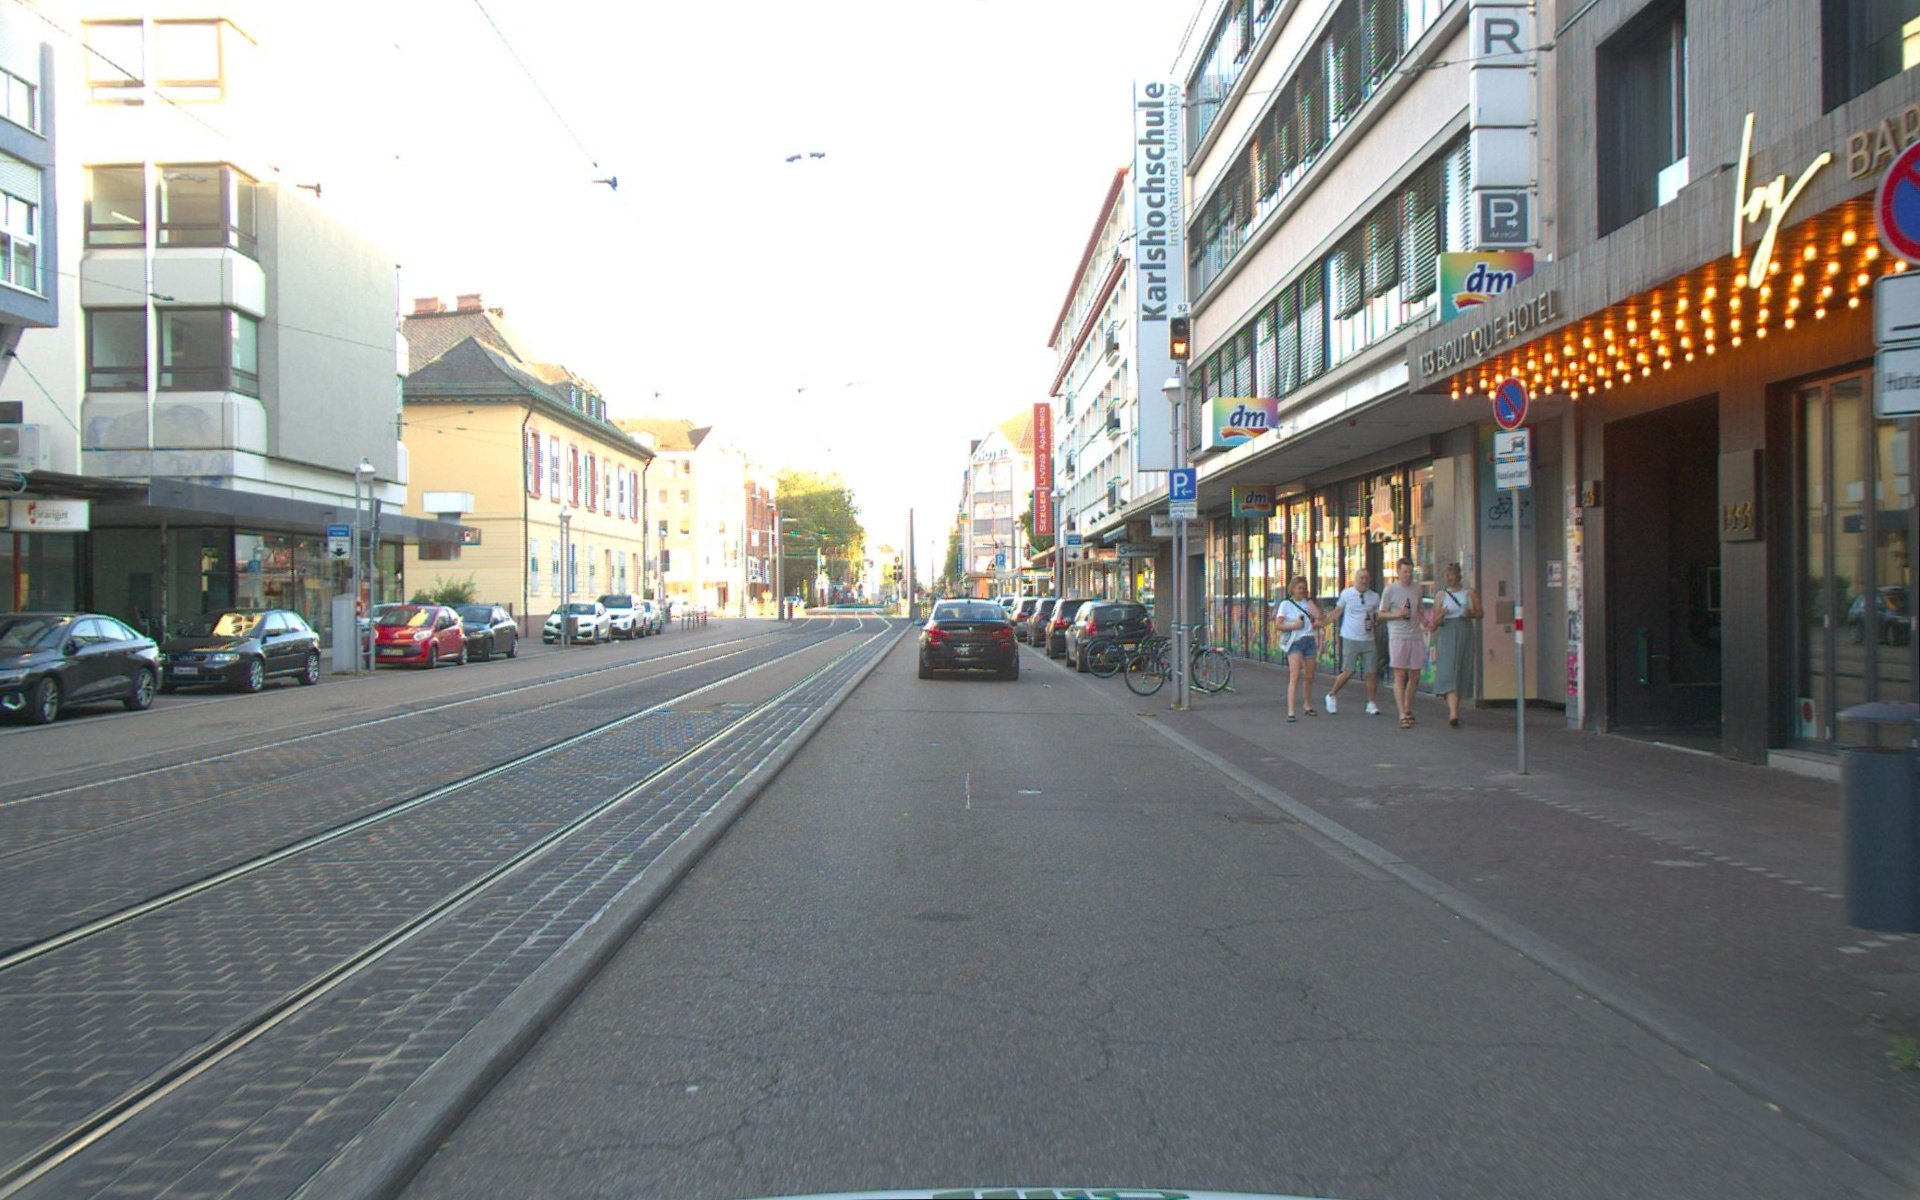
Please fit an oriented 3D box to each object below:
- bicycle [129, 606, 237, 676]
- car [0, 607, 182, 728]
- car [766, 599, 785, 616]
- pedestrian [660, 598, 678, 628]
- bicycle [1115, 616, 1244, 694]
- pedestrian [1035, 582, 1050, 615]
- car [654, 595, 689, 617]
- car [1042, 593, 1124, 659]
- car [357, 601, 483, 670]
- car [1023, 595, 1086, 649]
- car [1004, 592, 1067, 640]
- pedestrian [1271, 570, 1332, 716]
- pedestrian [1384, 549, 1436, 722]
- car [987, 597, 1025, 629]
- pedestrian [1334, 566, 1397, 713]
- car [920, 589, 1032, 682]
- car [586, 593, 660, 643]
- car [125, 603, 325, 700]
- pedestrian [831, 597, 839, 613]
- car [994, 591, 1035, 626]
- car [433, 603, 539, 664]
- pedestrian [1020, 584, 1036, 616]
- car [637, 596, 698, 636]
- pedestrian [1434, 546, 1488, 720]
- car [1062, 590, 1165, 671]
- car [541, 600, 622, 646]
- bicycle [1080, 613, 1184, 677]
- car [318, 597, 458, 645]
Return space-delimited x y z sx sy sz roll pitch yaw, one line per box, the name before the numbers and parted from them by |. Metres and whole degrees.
bicycle | -16.809 0.880 35.809 1.929 1.450 0.834 -1 0 -2
car | -12.940 0.868 23.261 1.953 1.491 4.557 0 0 -2
car | -21.682 0.848 194.280 1.954 1.934 4.808 -1 0 -3
pedestrian | -16.047 0.719 91.262 0.934 1.612 0.732 -1 0 -8
bicycle | 3.386 0.842 25.636 1.848 1.095 0.676 -3 0 -4
pedestrian | 4.507 -0.101 90.538 0.713 1.771 0.863 -2 0 -1
car | -20.733 0.418 119.060 1.769 1.538 4.034 -1 0 0
car | 3.051 0.620 41.780 1.685 1.538 4.167 -2 0 0
car | -12.963 0.819 39.923 1.651 1.538 4.214 -1 0 0
car | 2.872 0.653 51.167 1.651 1.538 4.034 -2 0 0
car | 2.549 0.528 56.899 1.754 1.538 4.710 -2 0 -2
pedestrian | 4.200 0.518 20.369 0.592 1.757 0.646 -1 0 -1
pedestrian | 5.100 0.394 18.753 0.446 1.932 0.421 -1 0 -1
car | 2.263 0.627 82.792 1.700 1.538 4.685 -2 0 0
pedestrian | 5.022 0.481 20.486 0.596 1.784 0.605 -1 0 -1
car | 0.256 0.624 31.324 1.953 1.612 3.999 -1 0 -1
car | -13.144 0.678 64.751 1.775 1.817 4.499 2 0 2
car | -12.920 0.853 29.394 1.652 1.538 4.444 -1 0 -2
pedestrian | -16.399 0.657 216.614 0.968 2.049 0.725 1 -1 -2
car | 2.528 0.366 77.411 1.749 1.538 4.051 -2 0 0
car | -12.856 0.873 45.096 1.651 1.538 4.214 -1 0 0
pedestrian | 3.762 -0.022 91.816 0.810 1.748 0.843 -2 0 -1
car | -12.472 0.667 70.683 1.775 1.645 4.215 -1 0 1
pedestrian | 5.631 0.365 18.584 0.442 1.932 0.421 -1 0 -1
car | 3.166 0.600 34.797 1.708 1.538 4.257 -2 0 0
car | -13.358 0.782 58.599 1.775 1.538 4.433 -1 0 1
bicycle | 3.256 0.844 31.380 1.848 1.158 0.676 -1 0 -4
car | -18.762 0.664 54.372 3.904 1.492 1.846 -1 0 1
